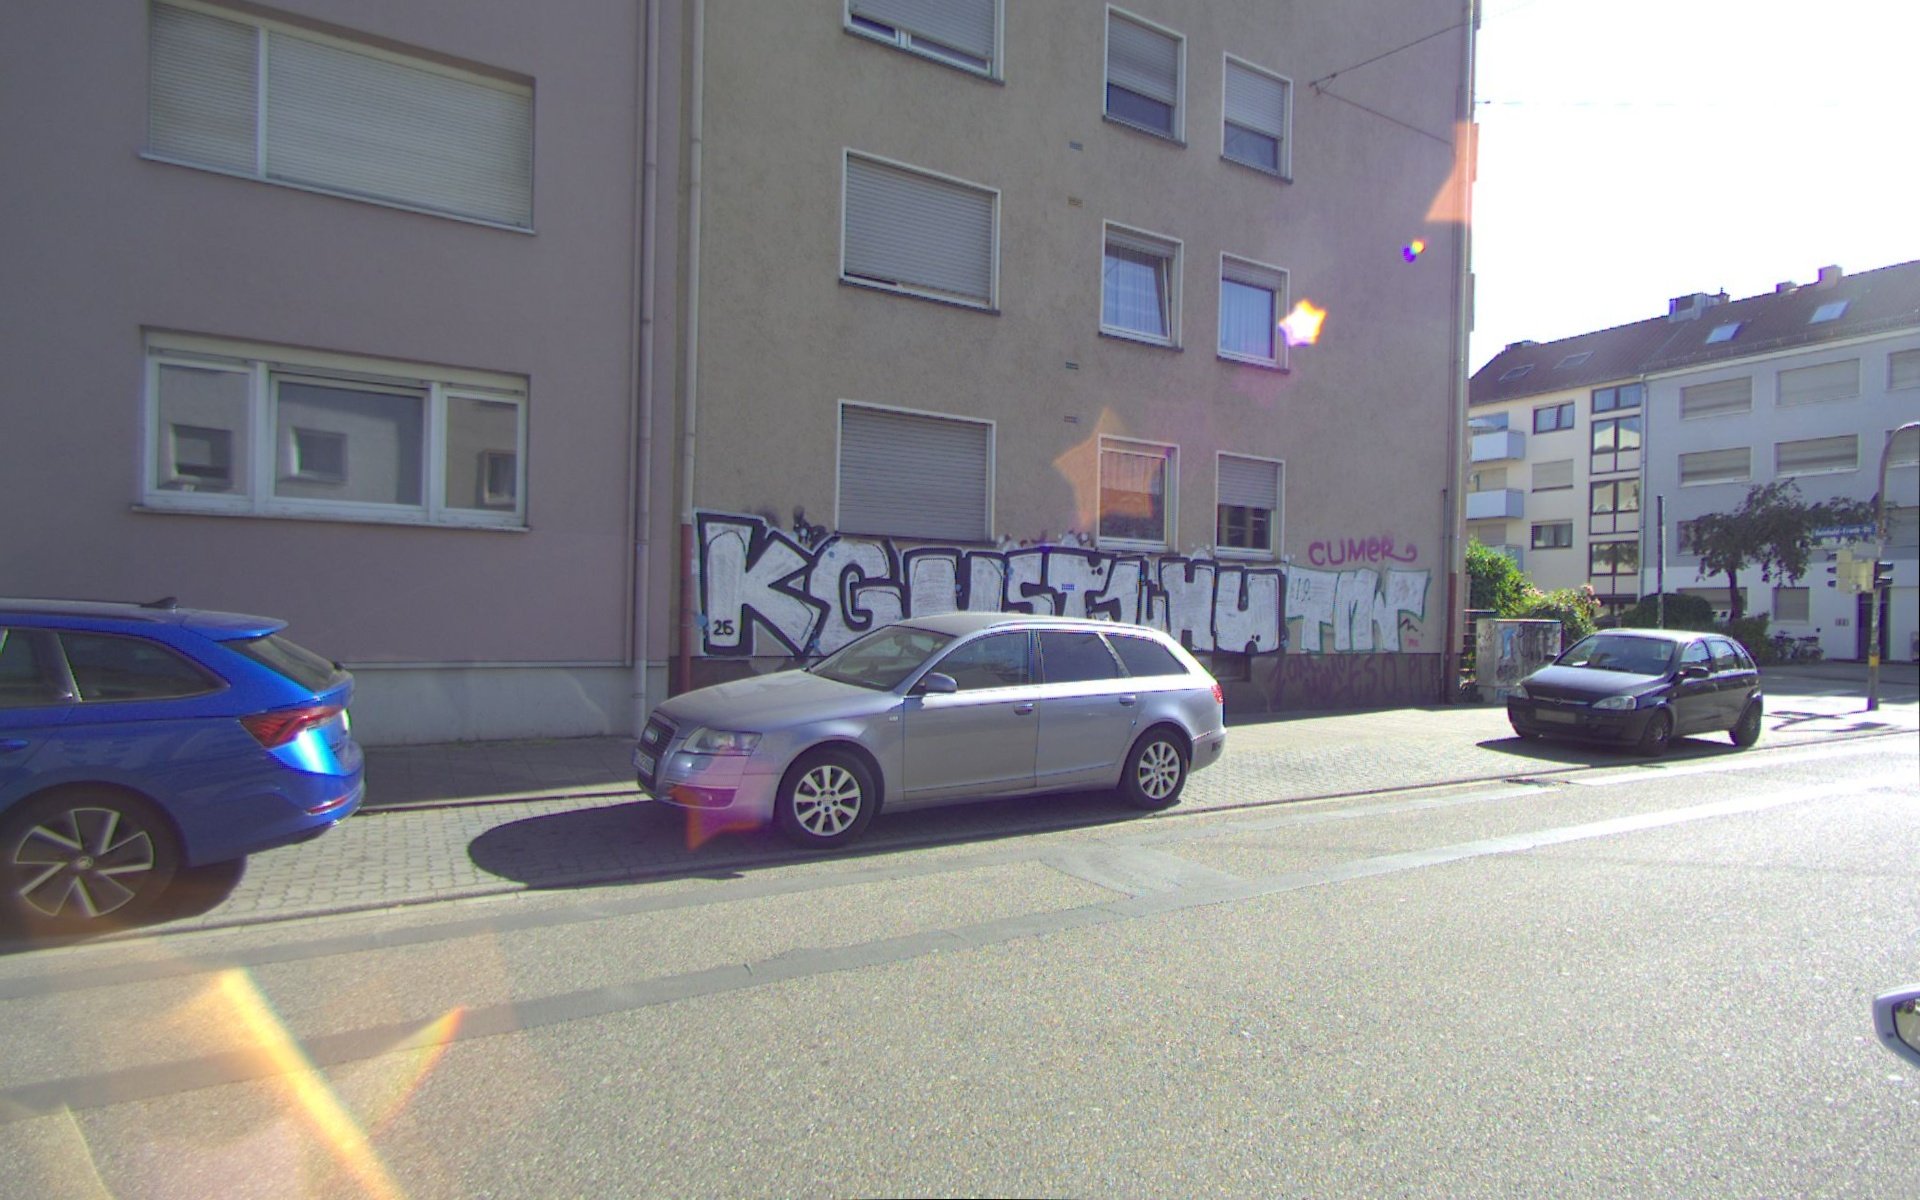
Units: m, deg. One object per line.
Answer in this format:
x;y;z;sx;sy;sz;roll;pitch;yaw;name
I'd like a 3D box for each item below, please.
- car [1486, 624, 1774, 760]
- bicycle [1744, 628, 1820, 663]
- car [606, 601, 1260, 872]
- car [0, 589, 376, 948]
8.591;1.081;12.824;3.667;1.444;1.608;1;1;-31;car
29.752;1.639;36.397;2.068;1.188;0.738;0;-1;37;bicycle
-0.054;0.833;7.683;4.759;1.485;1.708;1;1;-31;car
-5.347;0.710;4.617;4.558;1.485;1.709;1;2;-30;car
